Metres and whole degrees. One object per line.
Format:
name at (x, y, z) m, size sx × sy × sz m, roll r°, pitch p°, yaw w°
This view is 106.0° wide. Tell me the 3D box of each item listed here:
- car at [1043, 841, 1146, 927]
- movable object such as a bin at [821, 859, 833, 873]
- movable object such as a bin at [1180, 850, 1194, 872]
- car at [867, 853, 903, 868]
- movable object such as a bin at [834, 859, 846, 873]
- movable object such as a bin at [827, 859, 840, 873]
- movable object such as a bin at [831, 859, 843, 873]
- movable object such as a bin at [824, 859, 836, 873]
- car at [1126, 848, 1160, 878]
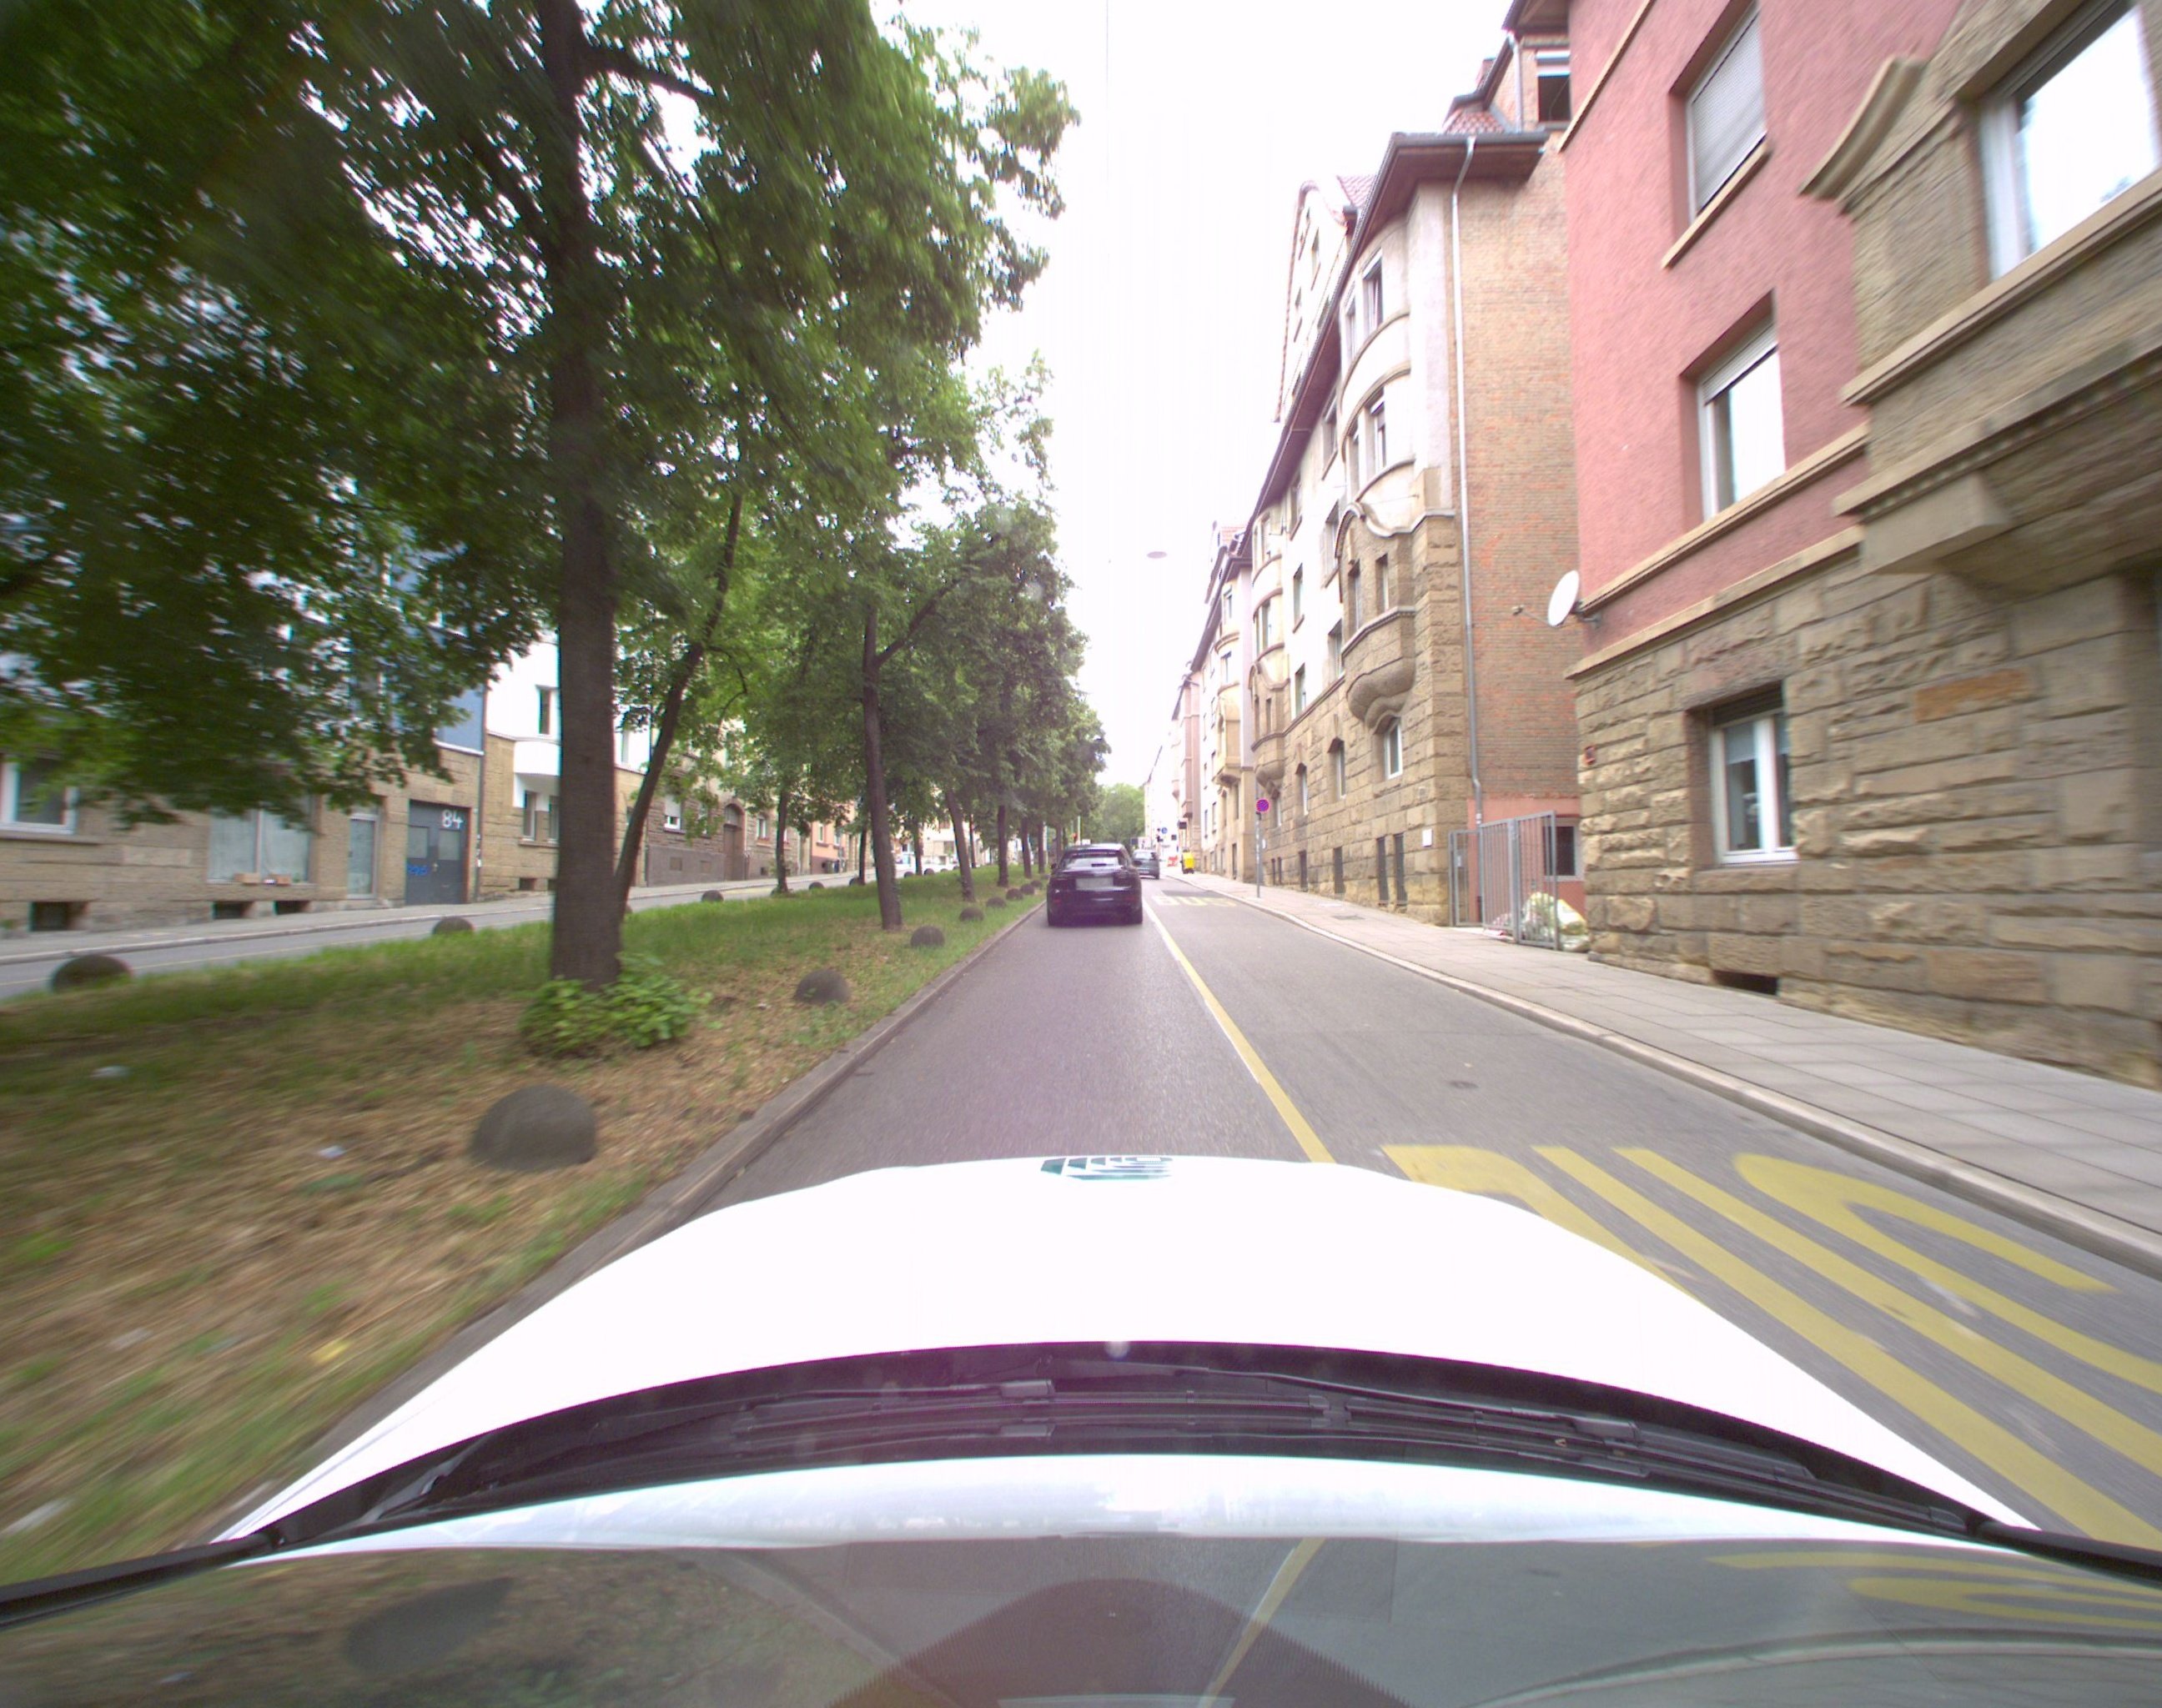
car at (0.369, 0.588, 18.020) m, size 1.986 × 1.653 × 4.003 m, roll -1°, pitch 0°, yaw 3°
movable object such as a bin at (-16.243, 0.769, 52.093) m, size 0.607 × 0.904 × 0.601 m, roll 1°, pitch -1°, yaw -2°
movable object such as a bin at (7.201, 0.481, 55.475) m, size 0.717 × 1.421 × 1.693 m, roll -1°, pitch -2°, yaw 0°
car at (-23.082, 0.803, 95.810) m, size 3.948 × 1.665 × 1.894 m, roll -2°, pitch -3°, yaw 35°
movable object such as a bin at (-16.252, 0.801, 54.863) m, size 0.607 × 0.904 × 0.601 m, roll 1°, pitch -1°, yaw -2°
movable object such as a bin at (-16.232, 0.785, 53.418) m, size 0.607 × 0.904 × 0.601 m, roll 1°, pitch -1°, yaw -2°
movable object such as a bin at (-16.220, 0.795, 54.181) m, size 0.607 × 0.904 × 0.601 m, roll 1°, pitch -1°, yaw -2°
movable object such as a bin at (-16.235, 0.776, 52.728) m, size 0.607 × 0.904 × 0.601 m, roll 1°, pitch -1°, yaw -2°
car at (3.461, 0.480, 46.108) m, size 1.746 × 1.593 × 3.632 m, roll 1°, pitch 1°, yaw 1°
